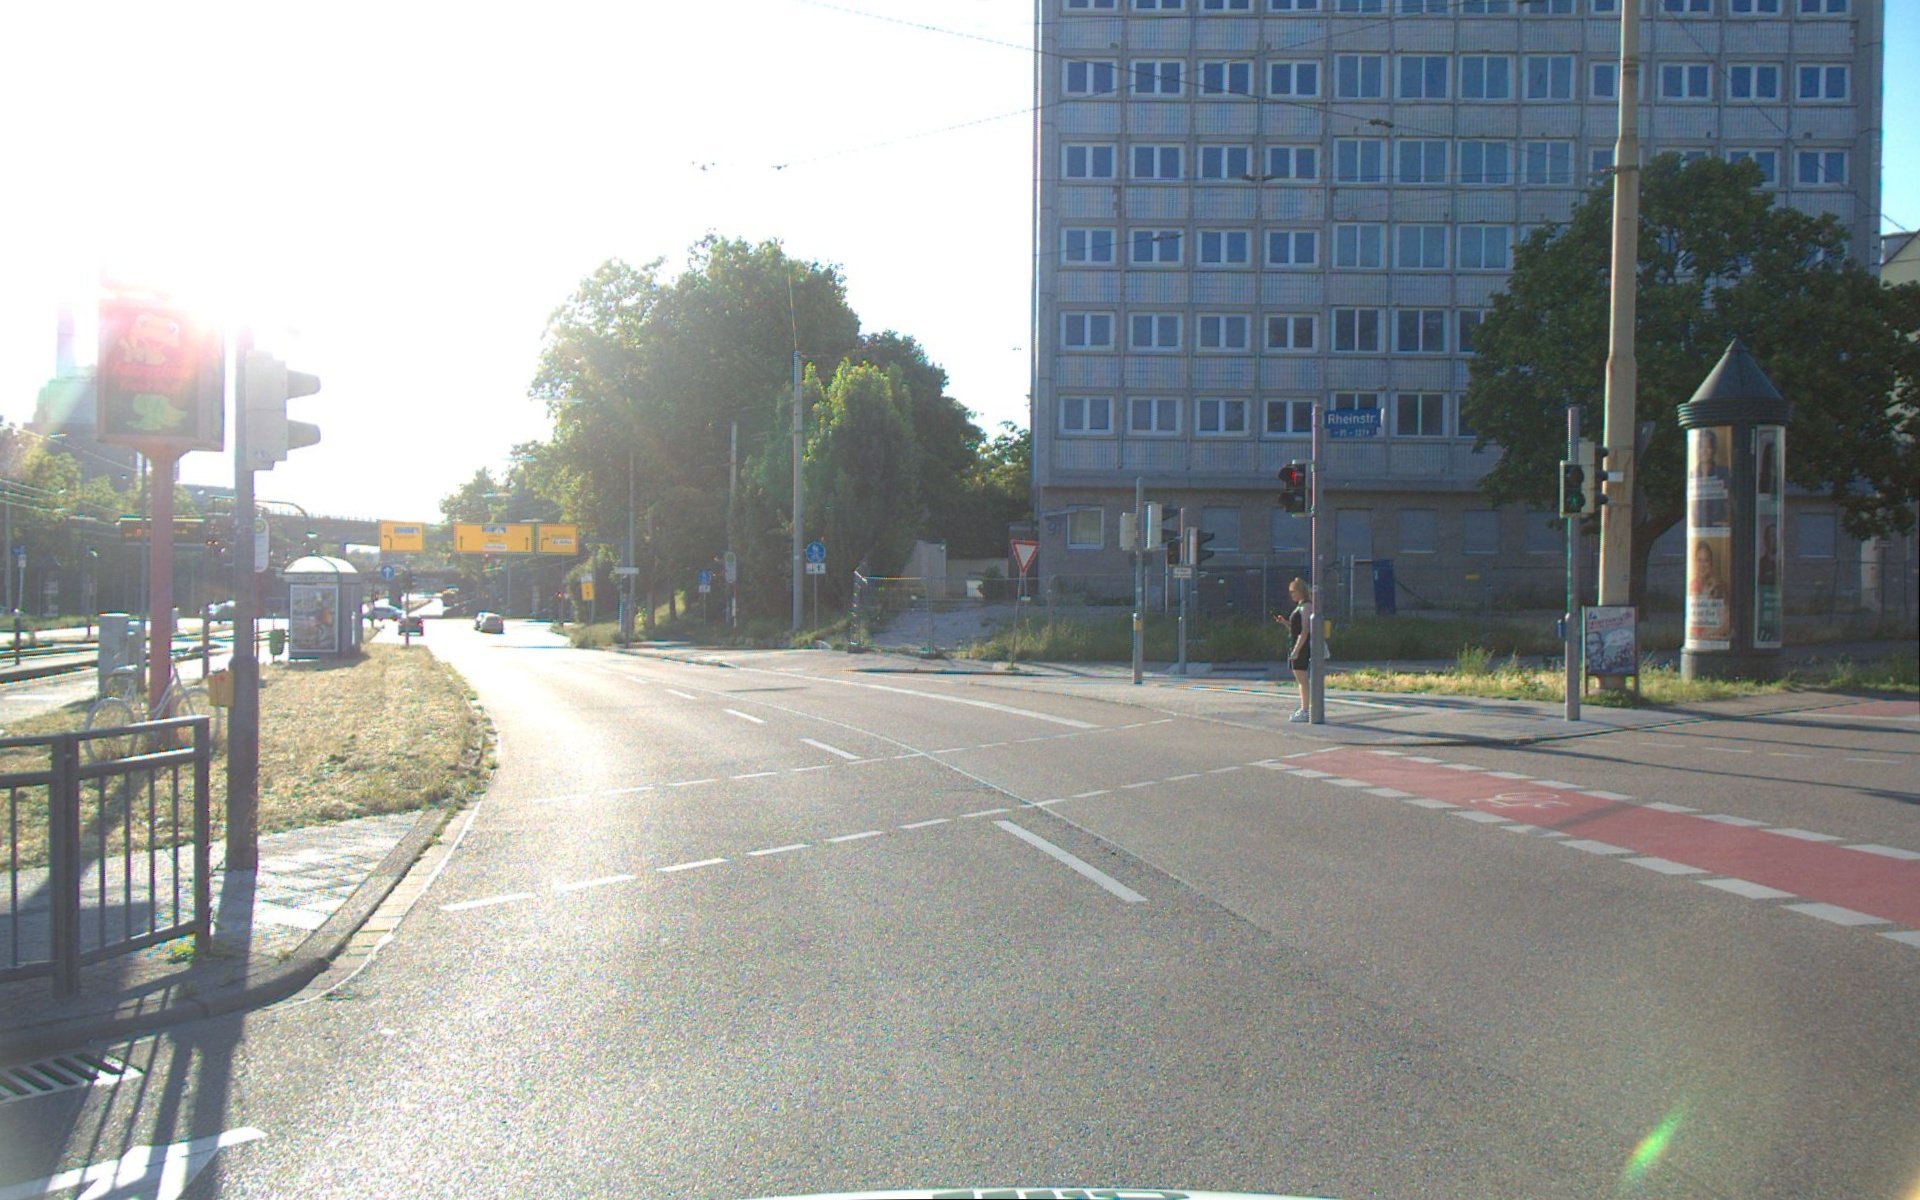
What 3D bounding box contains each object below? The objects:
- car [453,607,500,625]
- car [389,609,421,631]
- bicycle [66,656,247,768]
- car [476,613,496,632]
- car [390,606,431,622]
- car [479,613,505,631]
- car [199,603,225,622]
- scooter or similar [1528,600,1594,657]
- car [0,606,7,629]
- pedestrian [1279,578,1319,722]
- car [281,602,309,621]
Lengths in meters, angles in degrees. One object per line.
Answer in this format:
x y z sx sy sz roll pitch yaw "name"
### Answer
-56.185 1.854 192.213 4.746 2.049 2.001 1 1 1 "car"
-40.051 1.437 119.506 2.005 1.471 3.982 -1 0 -16 "car"
-7.693 1.053 15.916 0.541 0.934 1.744 -2 0 15 "bicycle"
-37.926 1.815 132.424 1.490 1.412 3.350 0 1 -15 "car"
-55.675 1.404 167.731 3.926 1.471 1.765 -1 0 -19 "car"
-39.407 1.841 139.200 2.005 1.471 3.981 -1 0 -17 "car"
-82.793 1.422 183.100 1.961 2.049 3.983 0 0 -15 "car"
12.821 0.612 35.273 1.270 1.190 0.327 -1 0 3 "scooter or similar"
-77.684 1.426 130.479 3.968 1.780 1.968 -1 0 -43 "car"
3.925 0.567 19.142 0.427 1.640 0.630 -1 0 12 "pedestrian"
-74.176 1.239 184.652 1.958 2.049 4.850 -1 0 -11 "car"
